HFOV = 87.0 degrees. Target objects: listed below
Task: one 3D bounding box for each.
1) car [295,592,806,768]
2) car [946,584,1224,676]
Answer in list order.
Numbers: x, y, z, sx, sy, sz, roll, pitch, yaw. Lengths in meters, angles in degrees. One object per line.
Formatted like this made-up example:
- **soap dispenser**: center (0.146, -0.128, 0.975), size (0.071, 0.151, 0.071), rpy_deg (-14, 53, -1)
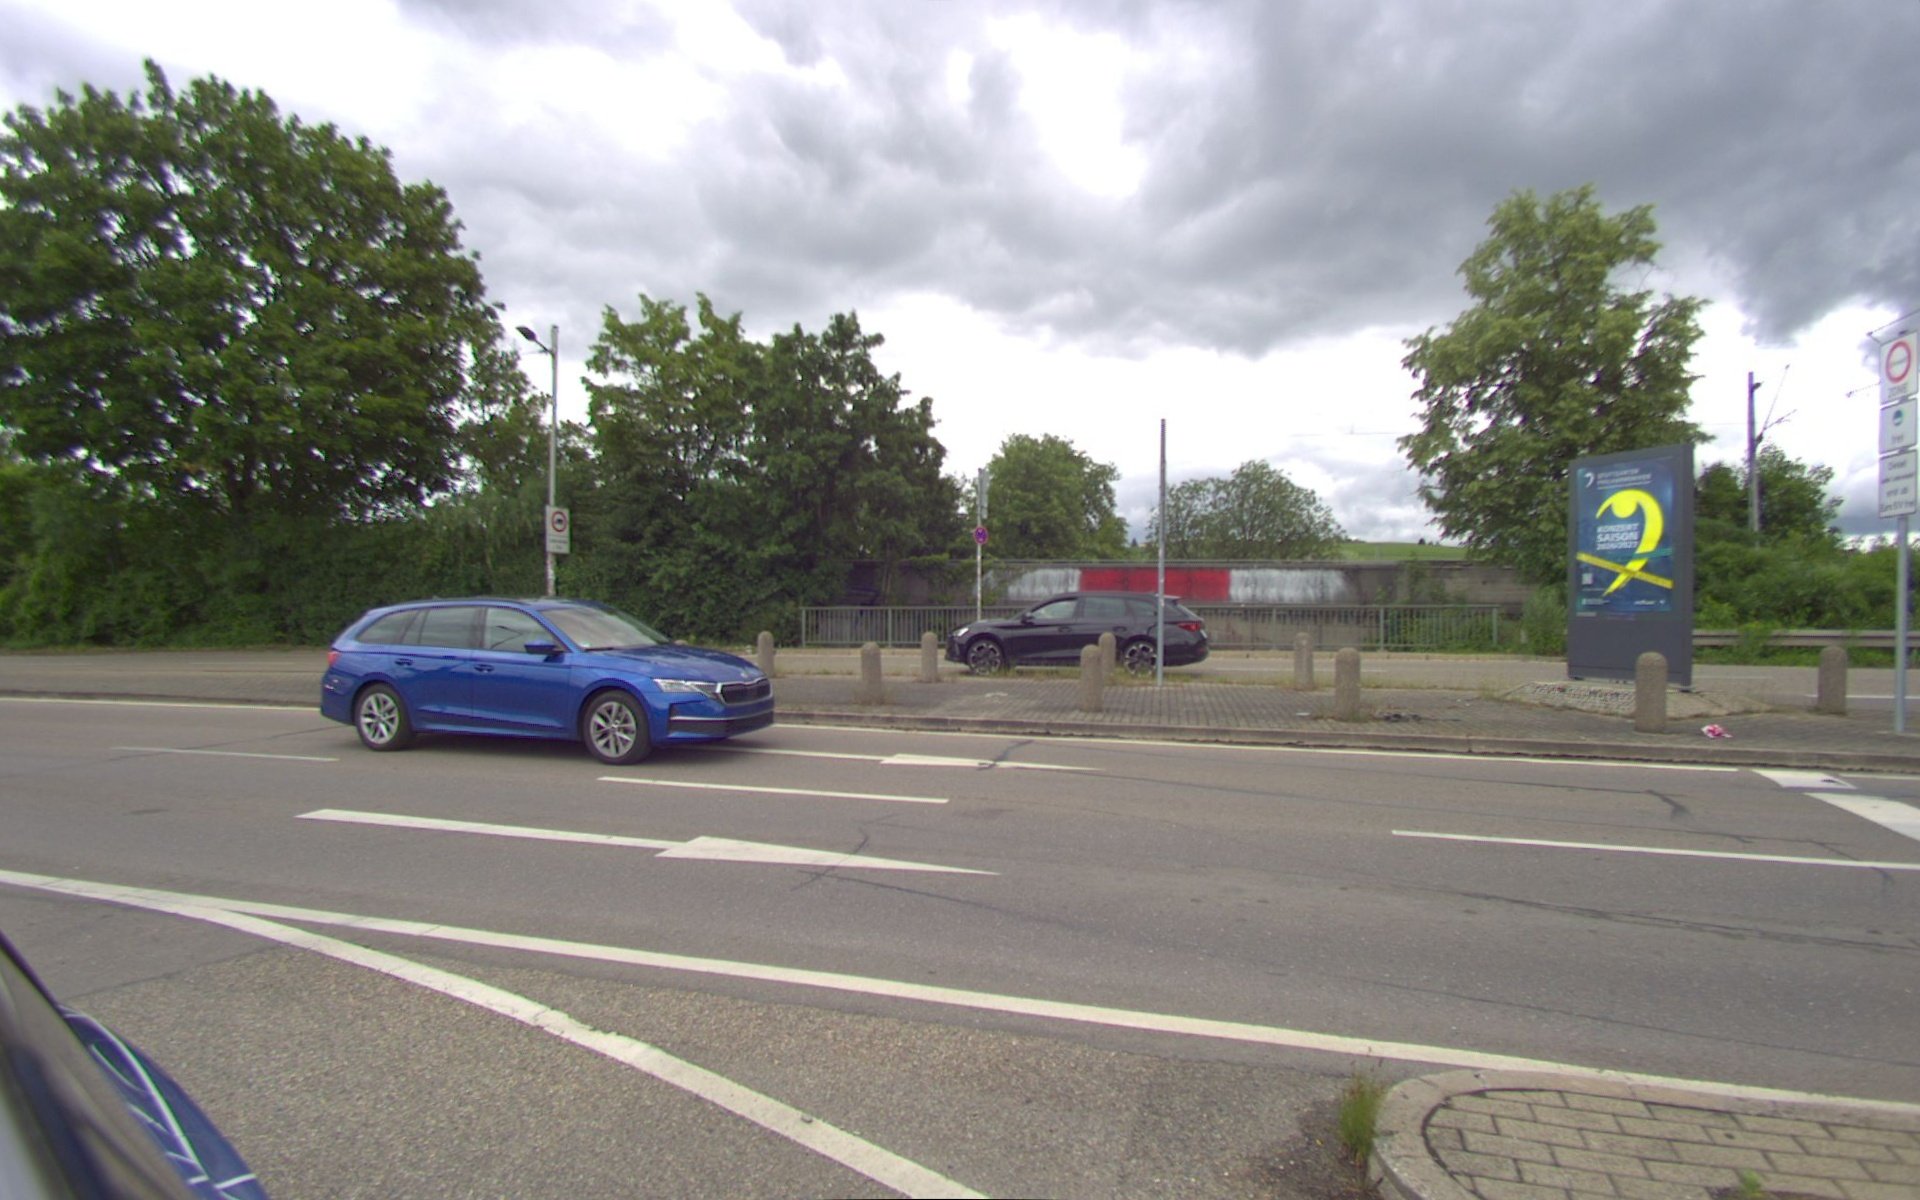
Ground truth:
- **car**: center (-3.961, 0.682, 9.855), size (4.544, 1.427, 1.832), rpy_deg (-1, 0, 19)
- **car**: center (2.226, 0.533, 17.674), size (4.578, 1.468, 1.946), rpy_deg (-1, -1, 16)
